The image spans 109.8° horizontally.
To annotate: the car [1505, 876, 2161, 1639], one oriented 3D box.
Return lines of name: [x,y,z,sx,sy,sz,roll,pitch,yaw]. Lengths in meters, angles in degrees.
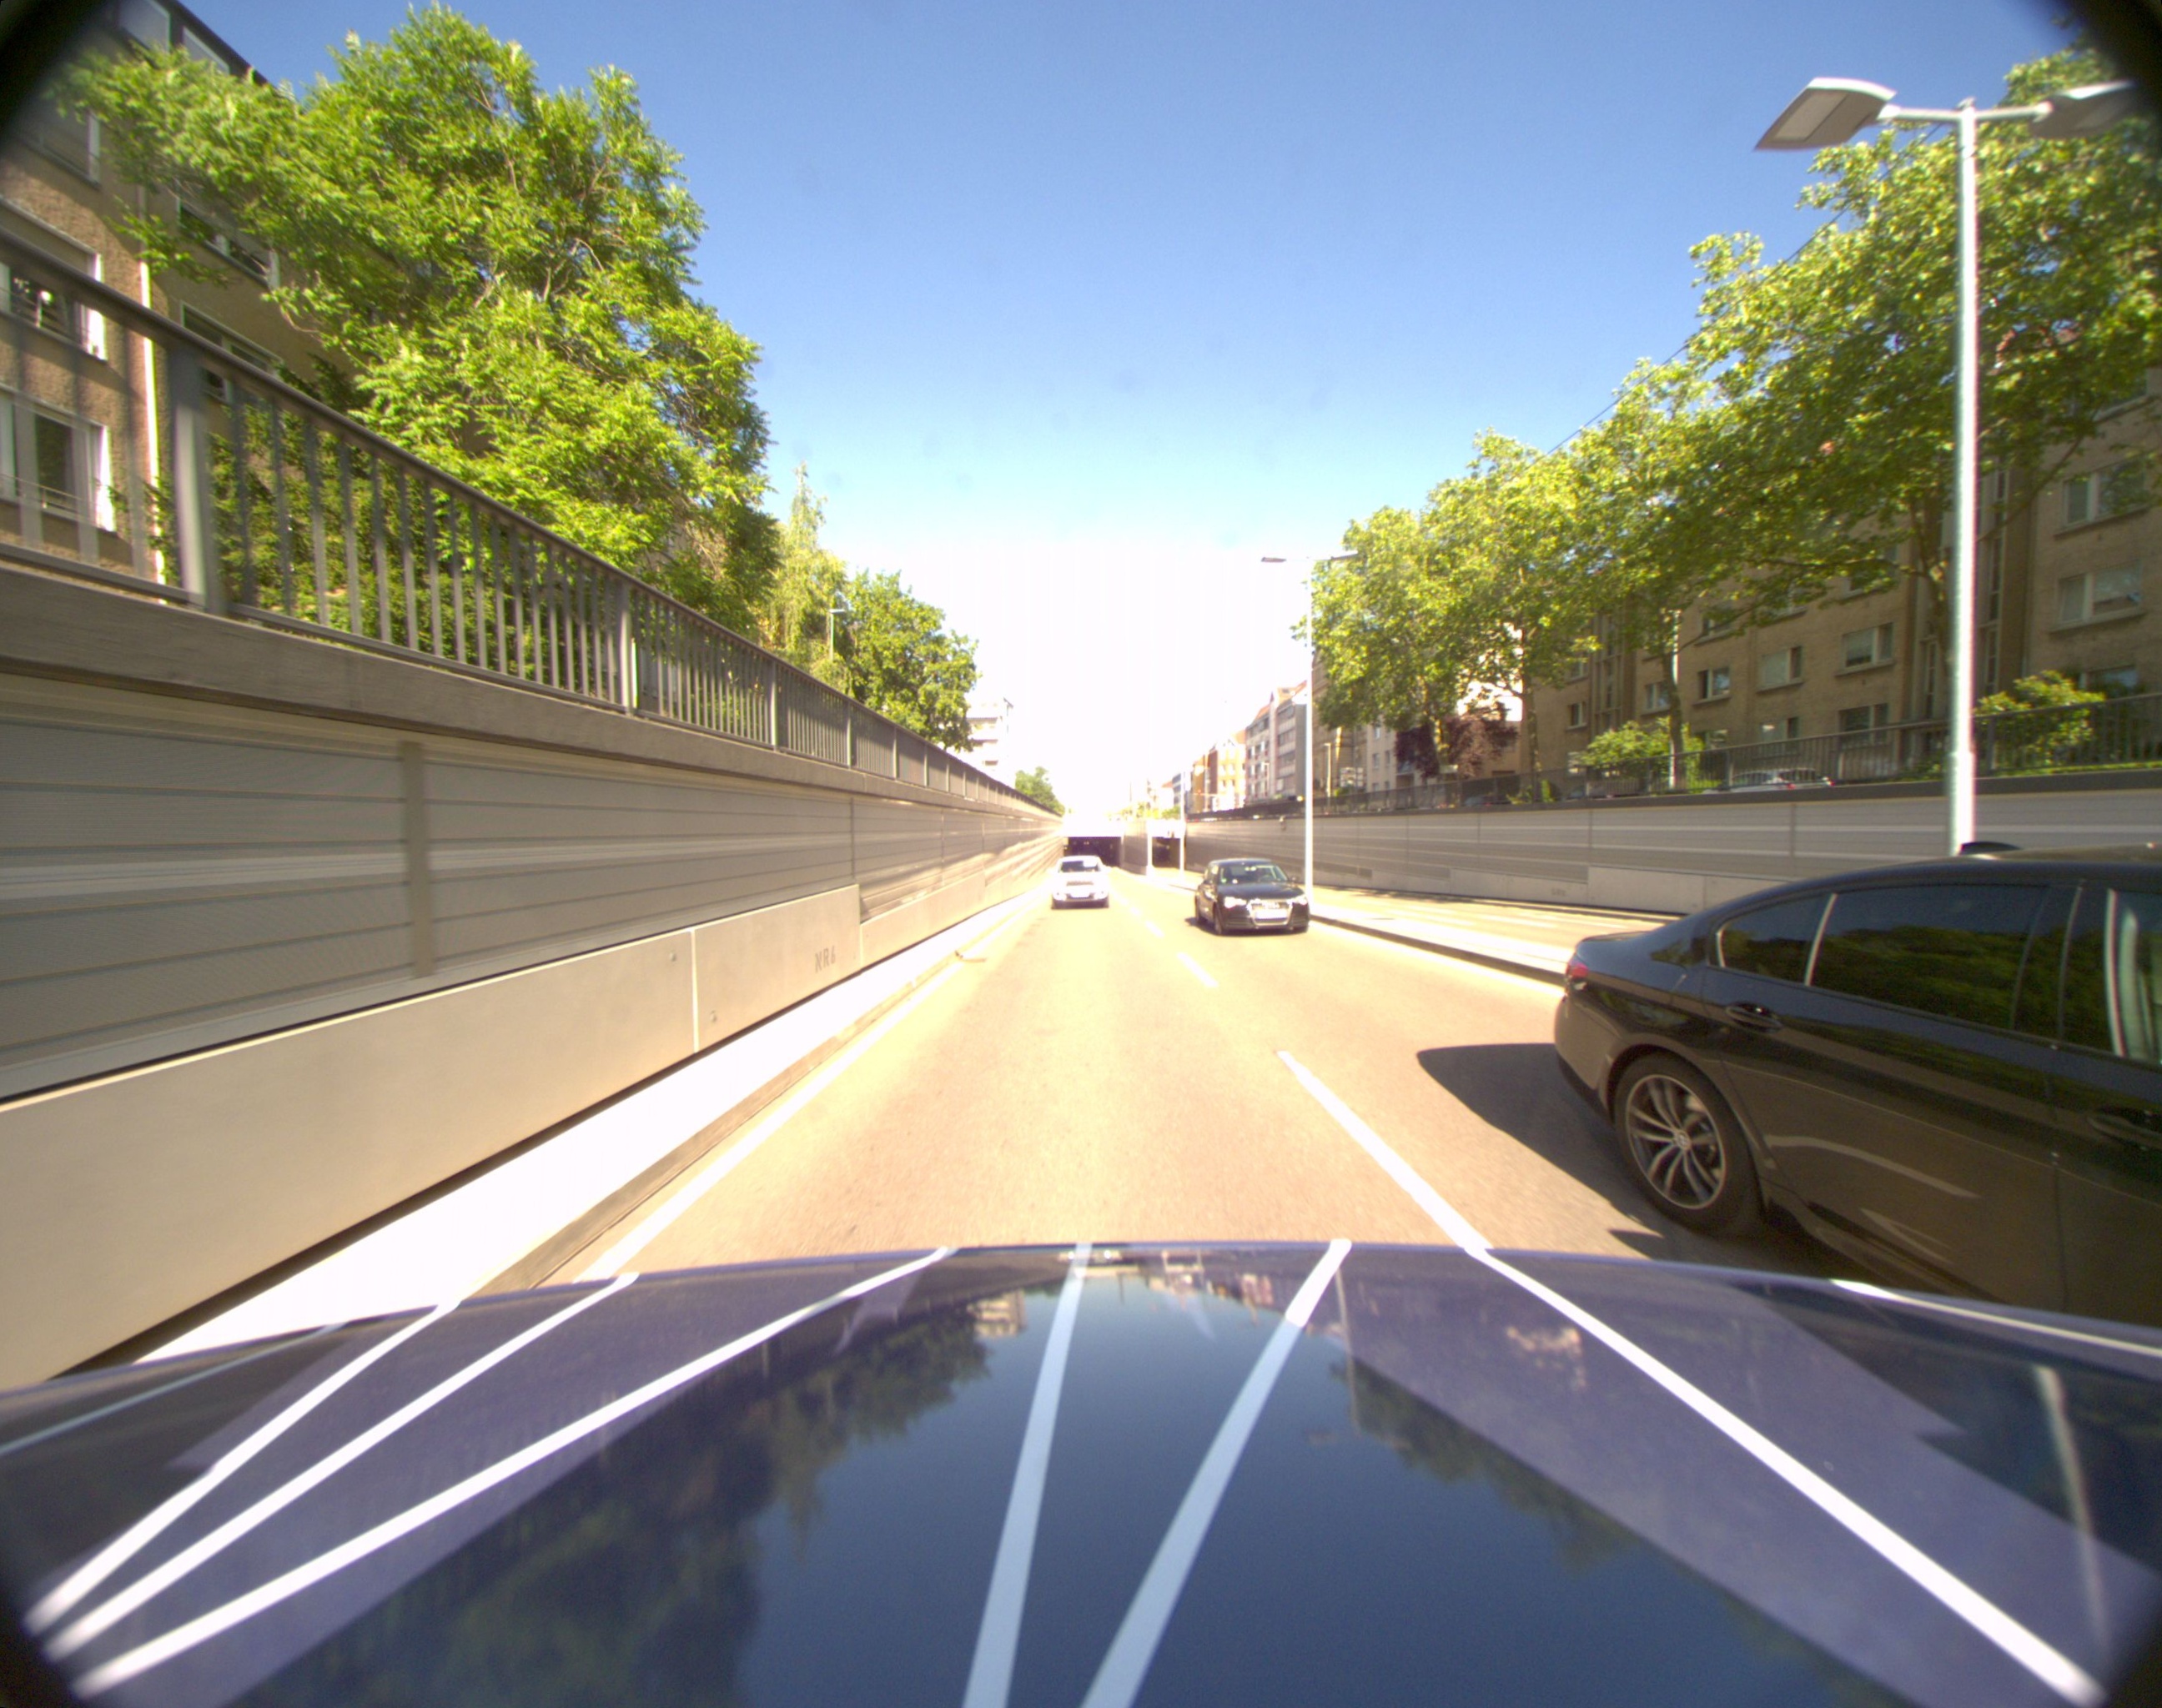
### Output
car: [3.091,0.856,1.365,1.813,1.431,5.002,-2,0,0]

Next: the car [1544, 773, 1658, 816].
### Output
car: [22.450,-2.520,33.040,1.926,1.575,4.302,-2,2,-2]

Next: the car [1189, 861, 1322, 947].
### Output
car: [3.296,0.877,15.119,1.700,1.410,3.888,-2,0,0]

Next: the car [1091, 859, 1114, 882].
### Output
car: [2.149,1.616,75.299,1.999,2.002,3.998,-2,2,-1]

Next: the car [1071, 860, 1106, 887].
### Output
car: [0.470,1.168,46.226,1.998,1.407,3.999,-2,1,0]

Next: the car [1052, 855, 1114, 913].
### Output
car: [0.075,0.922,25.199,1.855,1.658,3.970,-2,1,0]

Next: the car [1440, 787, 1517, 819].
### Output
car: [22.142,-2.799,42.510,1.926,1.575,4.302,-2,2,-2]

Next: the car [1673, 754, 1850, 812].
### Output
car: [22.232,-2.268,25.094,1.926,1.575,4.302,-2,2,-2]
